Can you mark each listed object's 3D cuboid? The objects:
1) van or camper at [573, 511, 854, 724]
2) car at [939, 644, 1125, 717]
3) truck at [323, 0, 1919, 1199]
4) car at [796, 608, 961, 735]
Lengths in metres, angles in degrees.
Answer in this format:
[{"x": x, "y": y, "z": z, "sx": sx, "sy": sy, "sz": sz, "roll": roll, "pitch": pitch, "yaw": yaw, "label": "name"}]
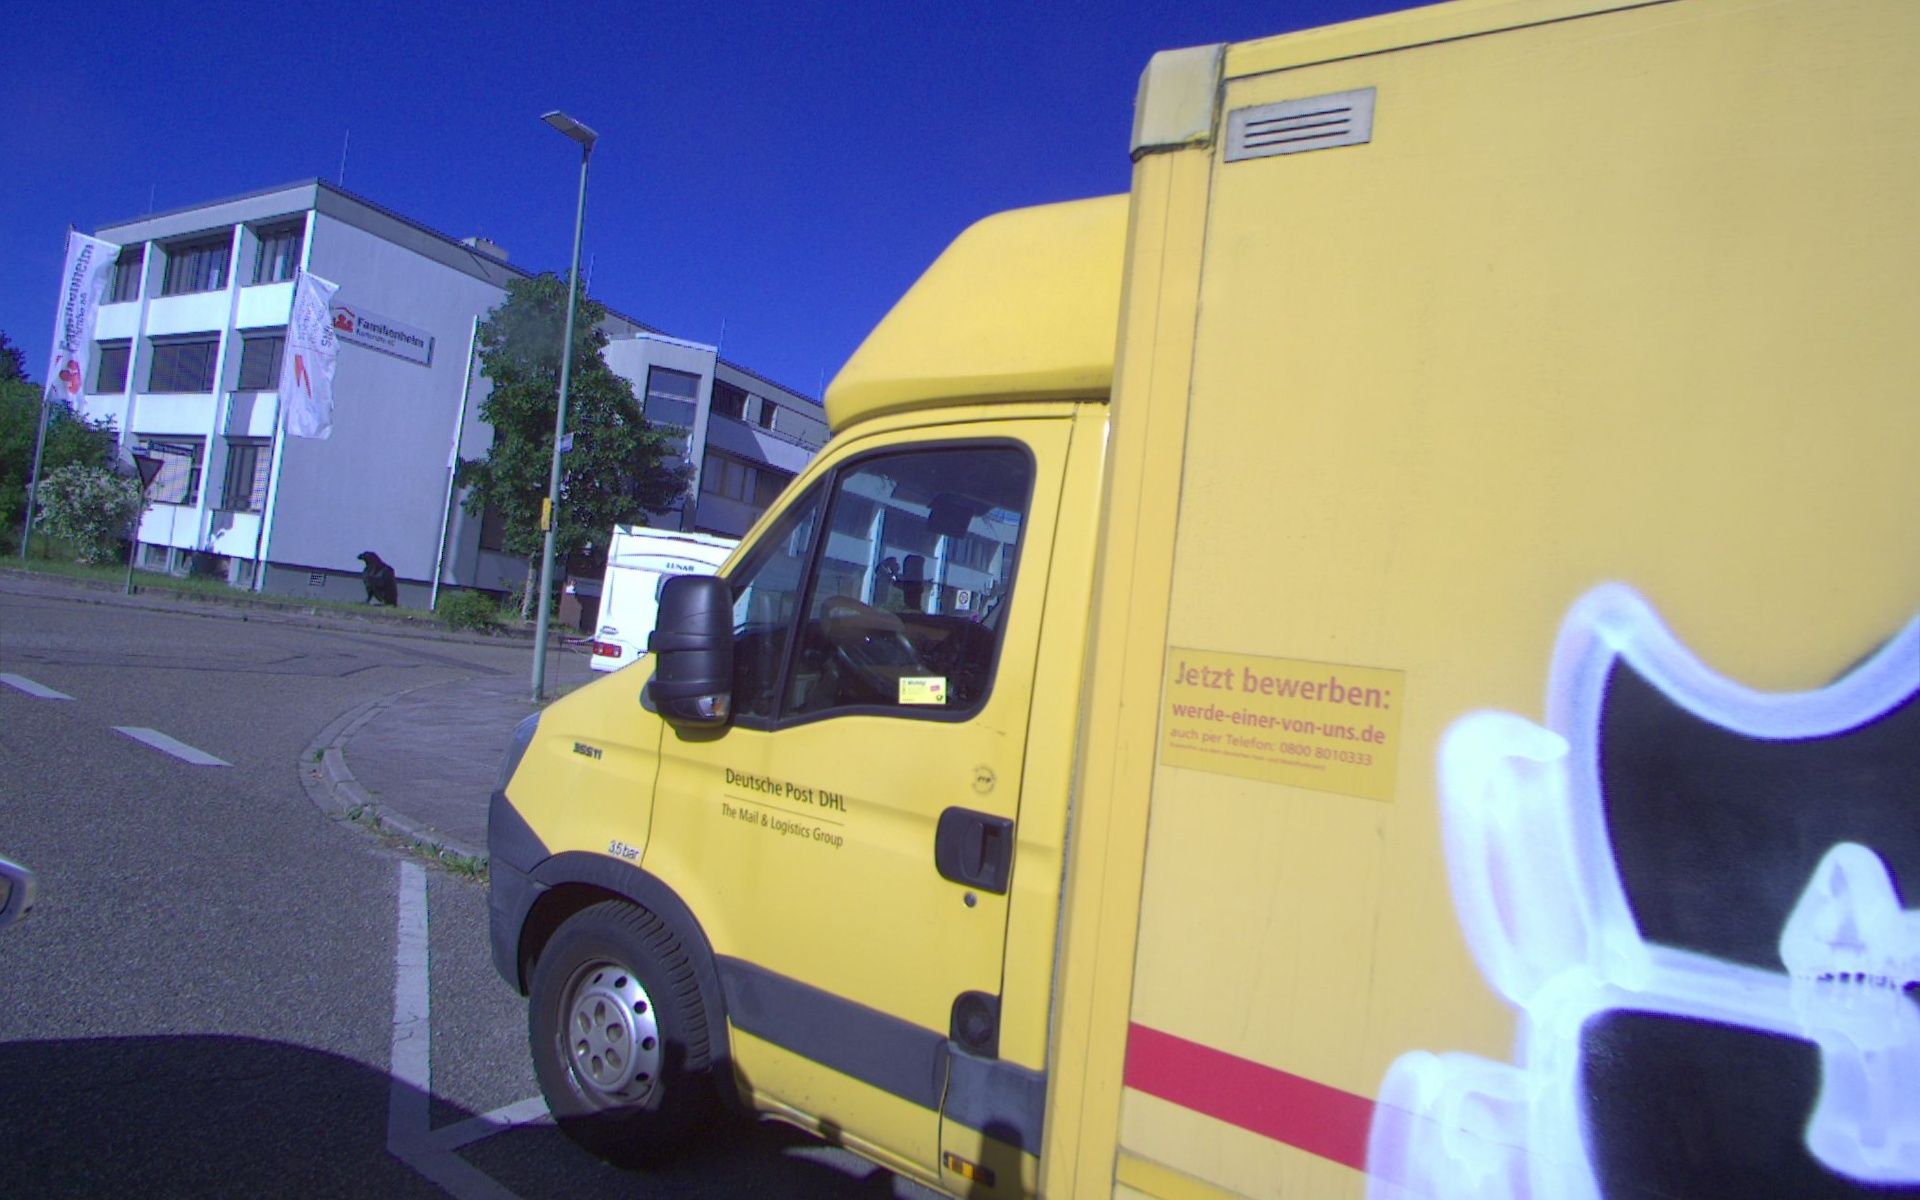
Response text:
[{"x": -3.624, "y": 0.391, "z": 16.377, "sx": 2.246, "sy": 2.570, "sz": 5.841, "roll": 7, "pitch": -2, "yaw": 7, "label": "van or camper"}, {"x": 1.874, "y": 2.118, "z": 26.651, "sx": 4.557, "sy": 1.453, "sz": 1.718, "roll": 3, "pitch": -4, "yaw": 33, "label": "car"}, {"x": 1.639, "y": 0.310, "z": 2.474, "sx": 6.899, "sy": 2.973, "sz": 2.406, "roll": 6, "pitch": 0, "yaw": 31, "label": "truck"}, {"x": -1.206, "y": 1.172, "z": 16.865, "sx": 1.776, "sy": 1.636, "sz": 4.006, "roll": 7, "pitch": -2, "yaw": 8, "label": "car"}]
